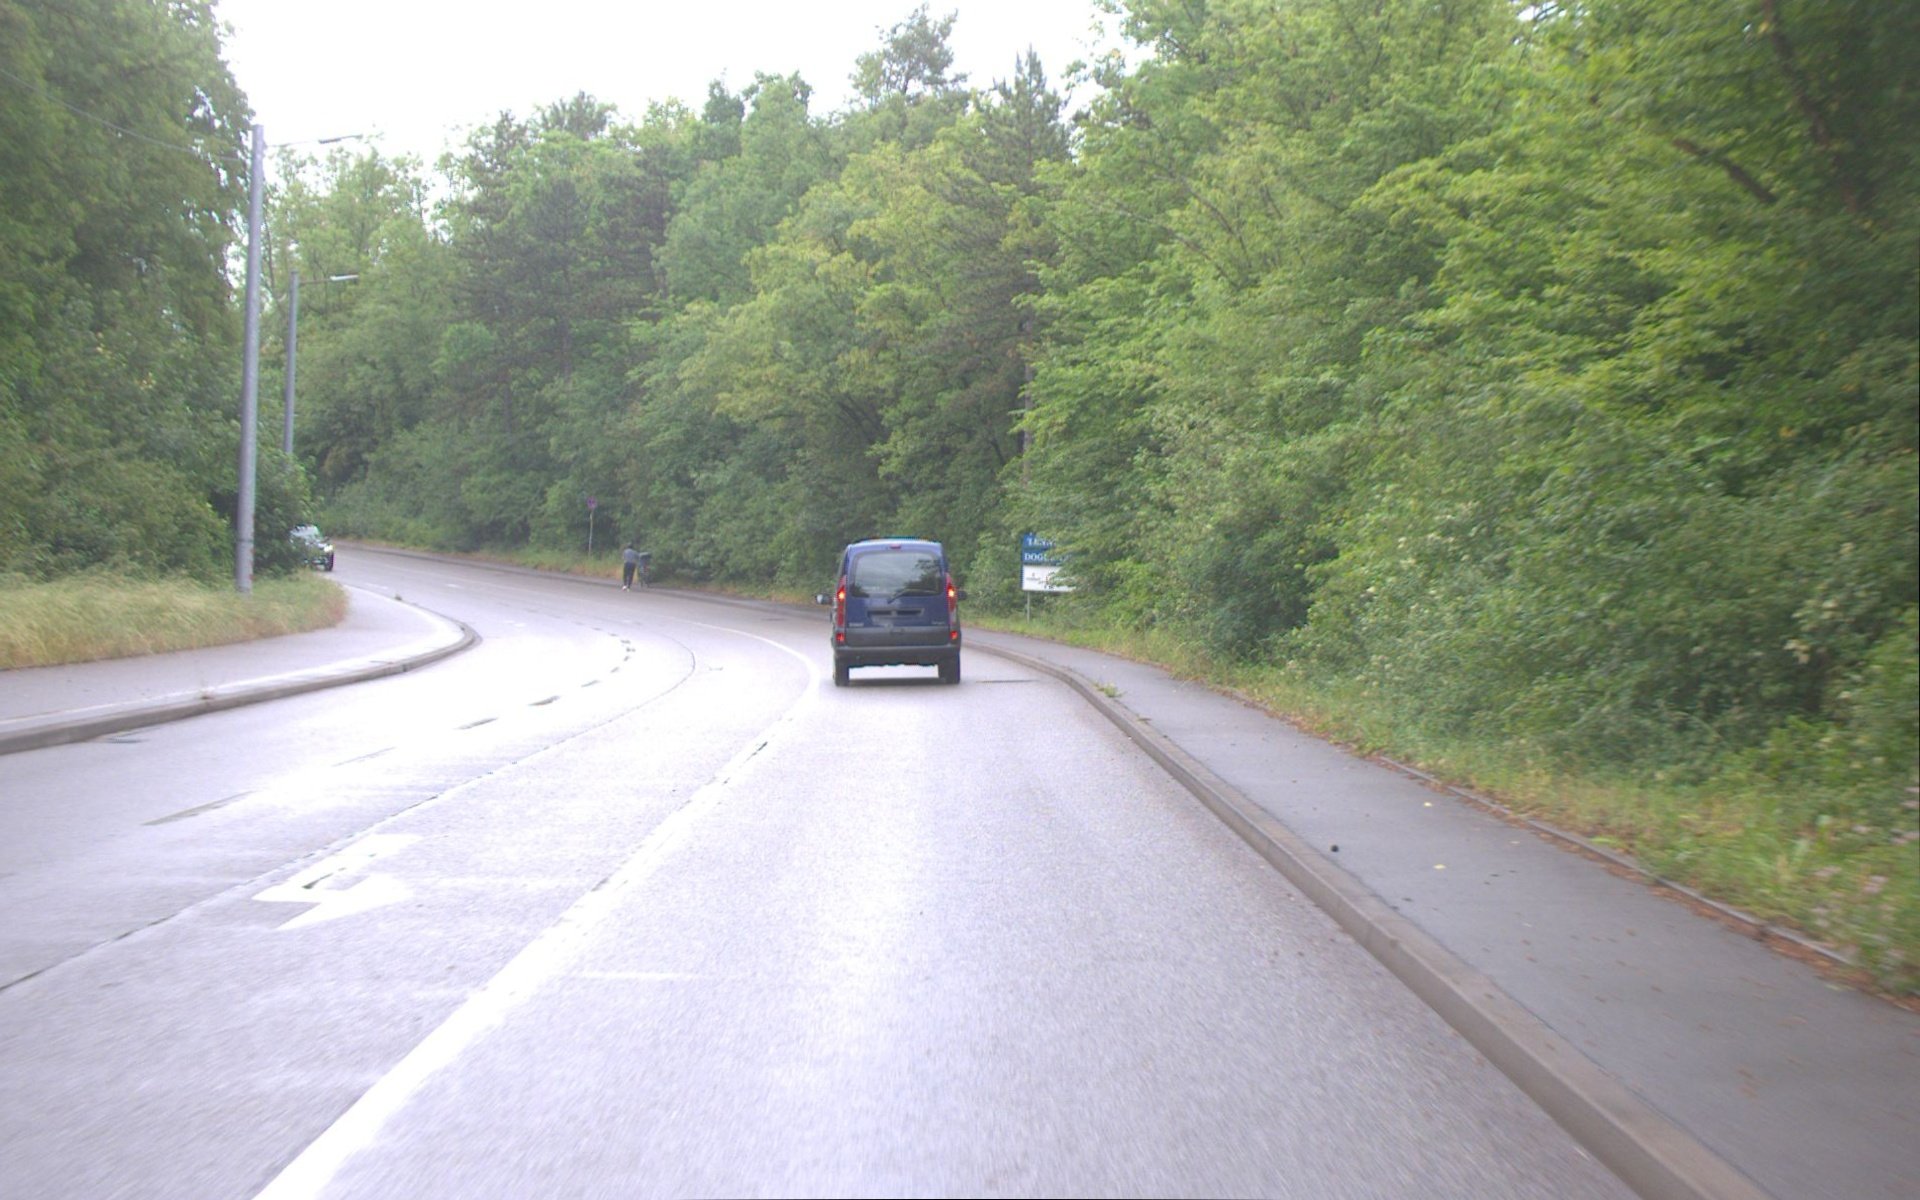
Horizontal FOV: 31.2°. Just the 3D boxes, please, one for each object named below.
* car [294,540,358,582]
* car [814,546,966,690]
[{"bbox_3d":[-24.763,-1.508,134.149,1.808,1.589,4.519,1,0,-18],"label":"car"},{"bbox_3d":[-0.958,0.206,44.963,1.827,1.788,4.000,-1,0,-3],"label":"car"}]
